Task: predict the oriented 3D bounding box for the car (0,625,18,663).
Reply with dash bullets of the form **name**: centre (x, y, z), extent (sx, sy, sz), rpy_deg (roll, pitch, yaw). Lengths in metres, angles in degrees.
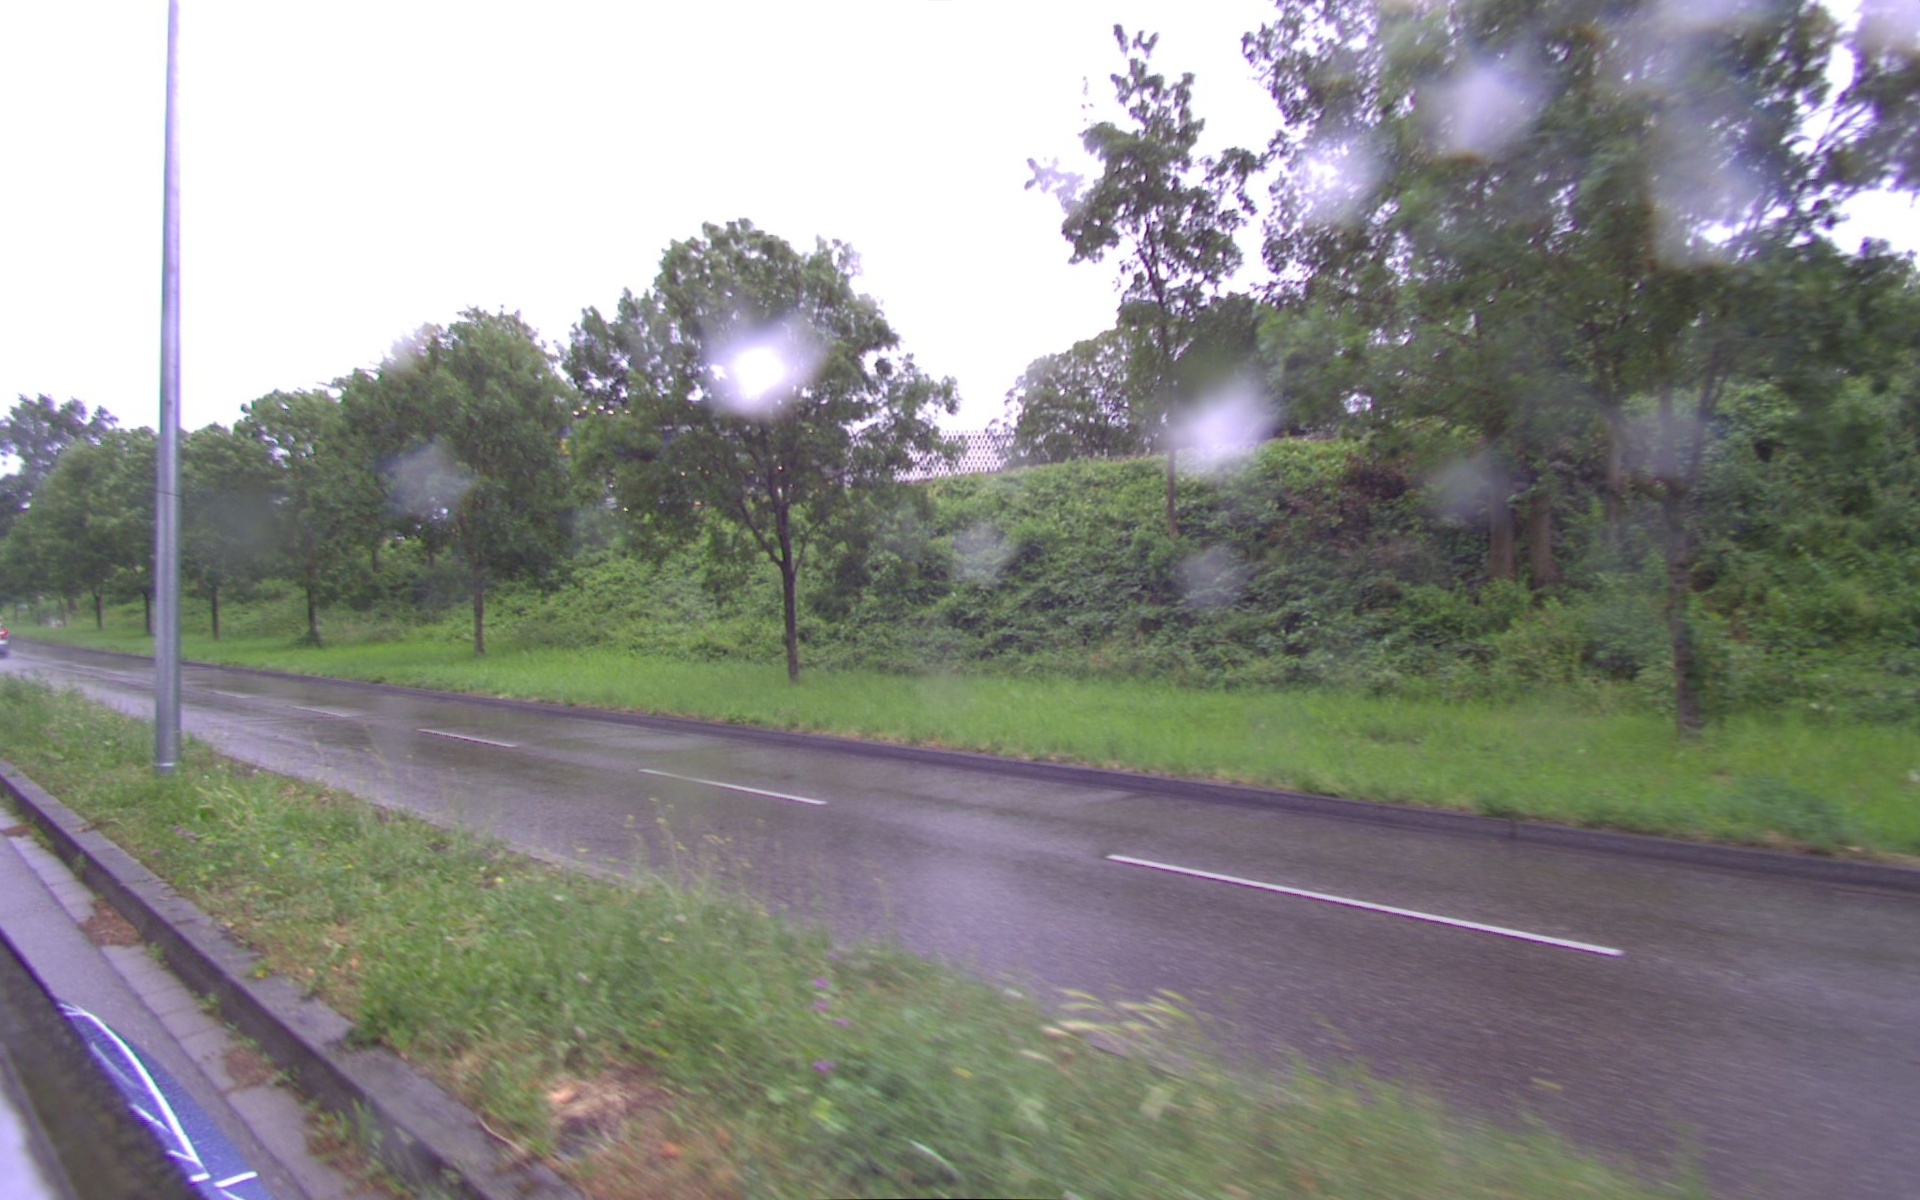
- **car**: centre (-39.484, 1.734, 40.748), extent (3.997, 1.474, 1.797), rpy_deg (-1, -4, 41)
